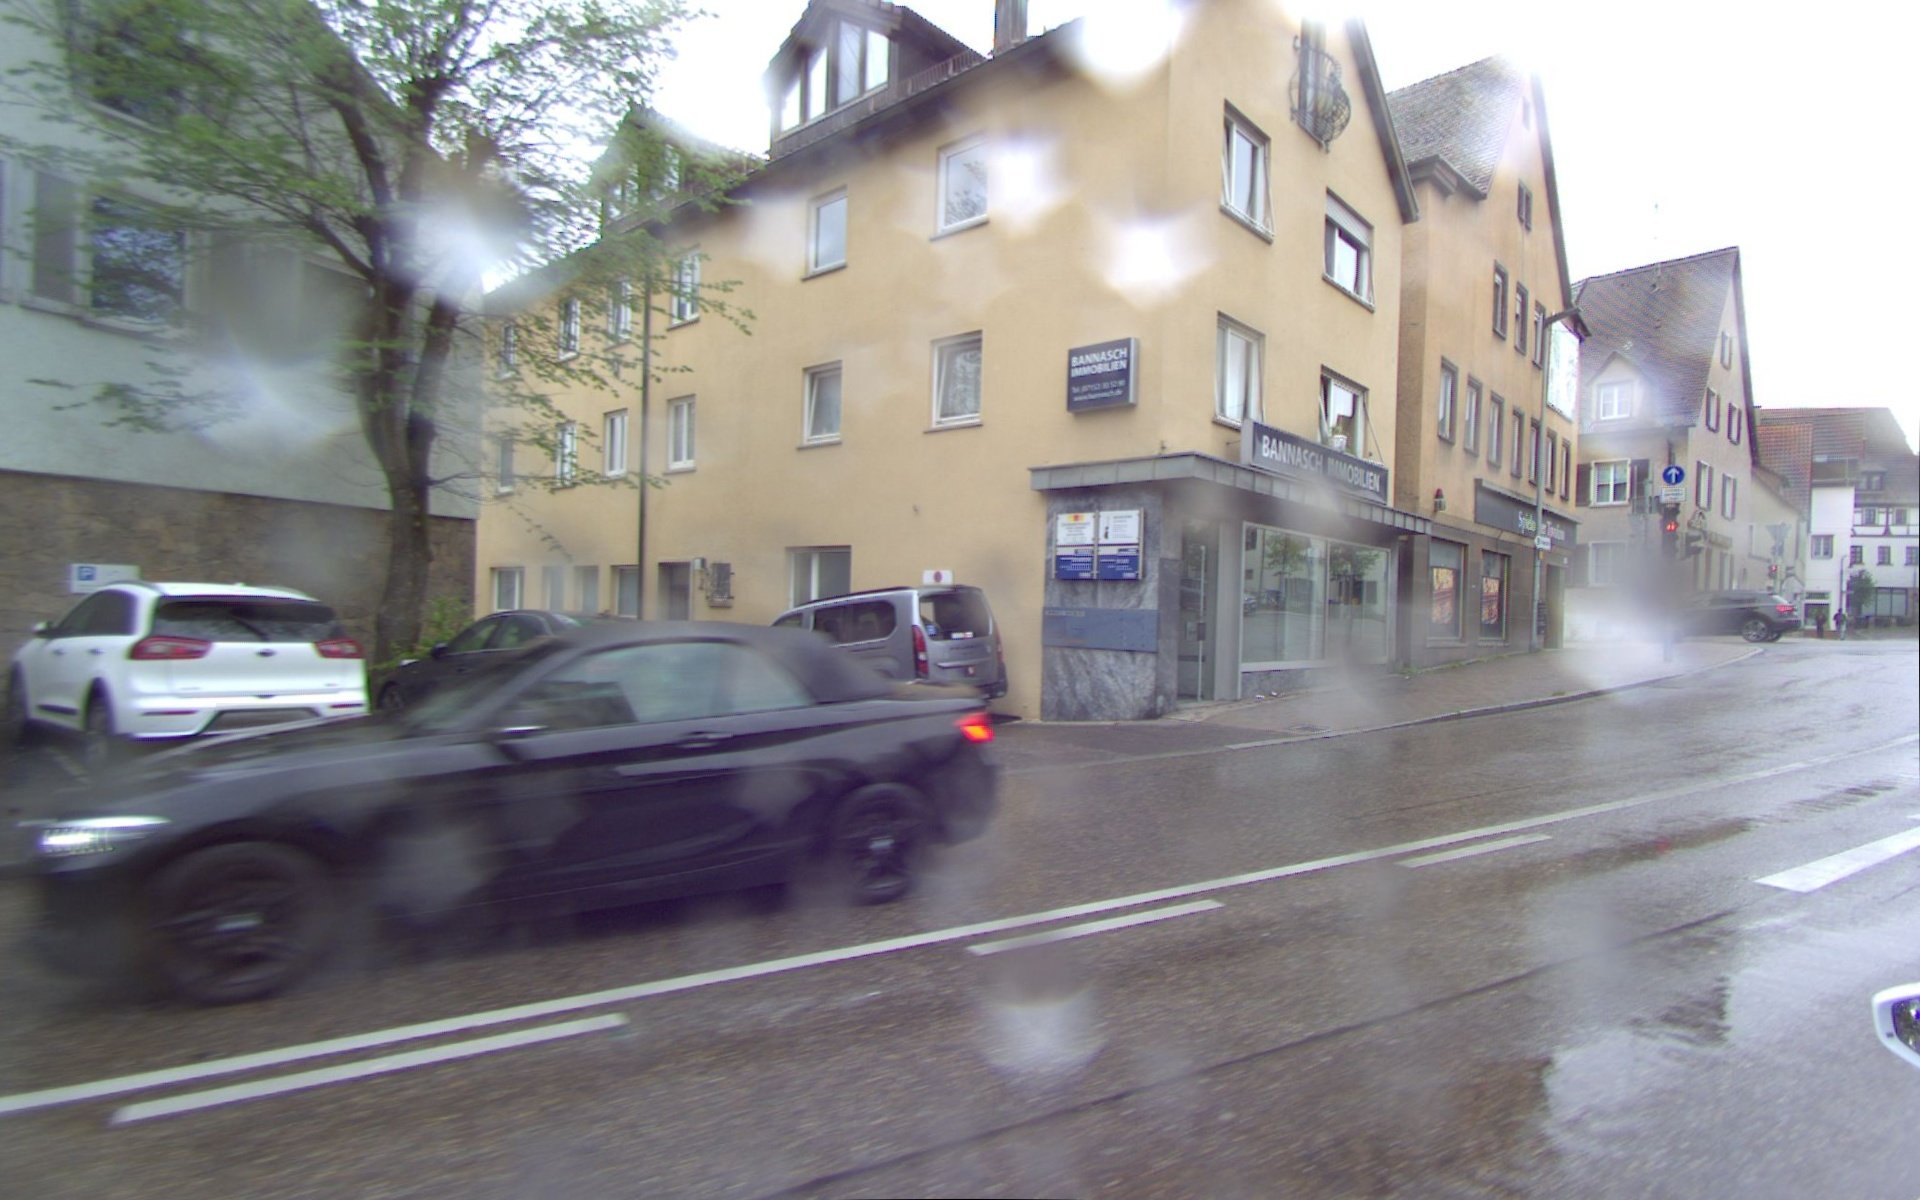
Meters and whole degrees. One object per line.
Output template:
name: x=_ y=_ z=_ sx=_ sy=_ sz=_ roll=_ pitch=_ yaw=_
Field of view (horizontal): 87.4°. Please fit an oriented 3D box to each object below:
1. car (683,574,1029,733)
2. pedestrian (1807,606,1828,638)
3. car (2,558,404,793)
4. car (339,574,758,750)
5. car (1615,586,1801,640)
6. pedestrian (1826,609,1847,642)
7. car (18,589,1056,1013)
car: x=-1.614 y=0.812 z=14.090 sx=4.864 sy=1.849 sz=1.952 roll=-7 pitch=-3 yaw=41
pedestrian: x=47.488 y=1.238 z=55.628 sx=0.626 sy=1.755 sz=0.772 roll=-1 pitch=0 yaw=-42
car: x=-6.806 y=0.532 z=8.946 sx=3.588 sy=1.650 sz=1.992 roll=1 pitch=-1 yaw=38
car: x=-4.210 y=0.656 z=10.201 sx=3.929 sy=1.472 sz=1.897 roll=-4 pitch=-3 yaw=29
car: x=24.204 y=0.387 z=32.631 sx=4.681 sy=1.609 sz=1.820 roll=1 pitch=0 yaw=43
pedestrian: x=48.051 y=1.409 z=55.037 sx=0.626 sy=1.755 sz=0.772 roll=-1 pitch=0 yaw=-42
car: x=-1.750 y=0.724 z=5.212 sx=4.212 sy=1.405 sz=1.853 roll=1 pitch=-2 yaw=-30
